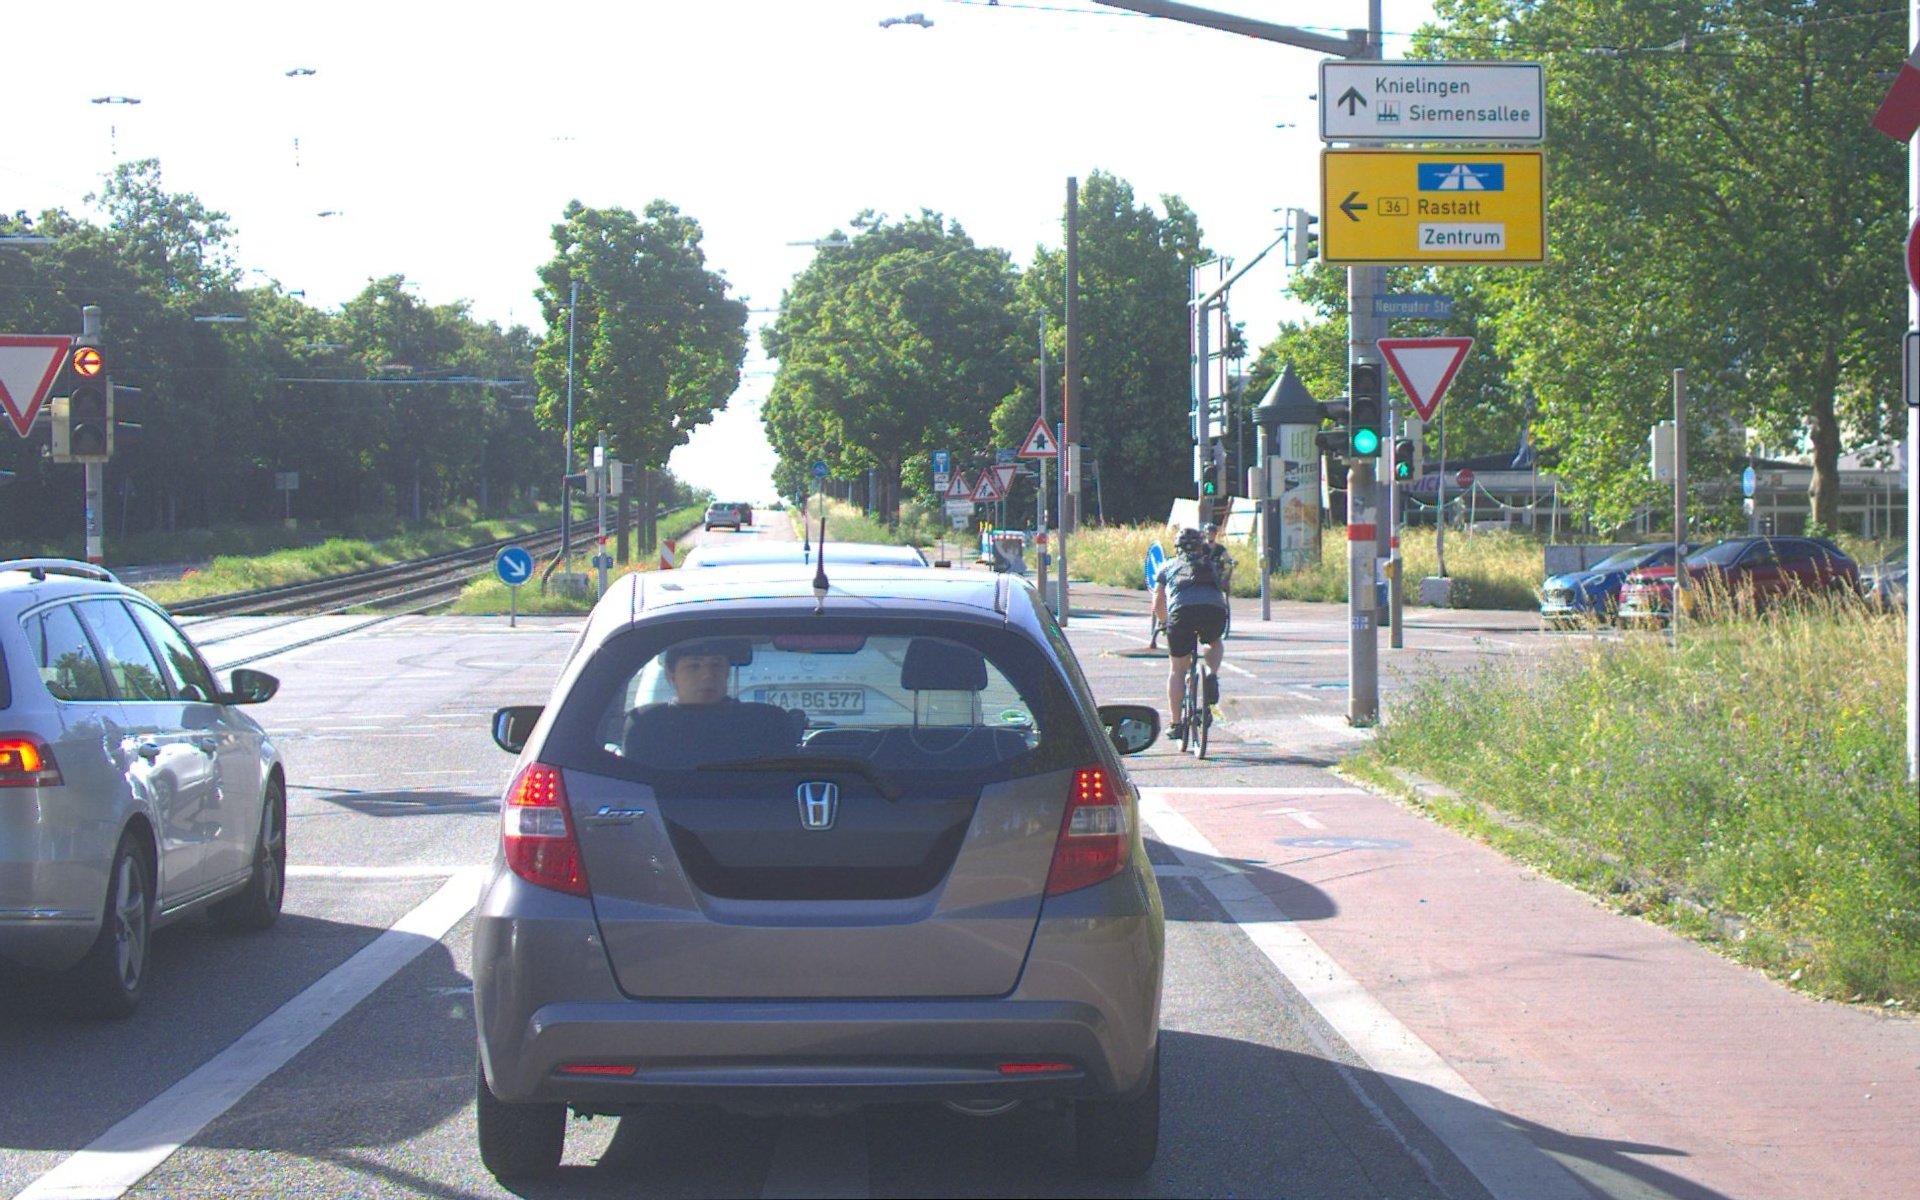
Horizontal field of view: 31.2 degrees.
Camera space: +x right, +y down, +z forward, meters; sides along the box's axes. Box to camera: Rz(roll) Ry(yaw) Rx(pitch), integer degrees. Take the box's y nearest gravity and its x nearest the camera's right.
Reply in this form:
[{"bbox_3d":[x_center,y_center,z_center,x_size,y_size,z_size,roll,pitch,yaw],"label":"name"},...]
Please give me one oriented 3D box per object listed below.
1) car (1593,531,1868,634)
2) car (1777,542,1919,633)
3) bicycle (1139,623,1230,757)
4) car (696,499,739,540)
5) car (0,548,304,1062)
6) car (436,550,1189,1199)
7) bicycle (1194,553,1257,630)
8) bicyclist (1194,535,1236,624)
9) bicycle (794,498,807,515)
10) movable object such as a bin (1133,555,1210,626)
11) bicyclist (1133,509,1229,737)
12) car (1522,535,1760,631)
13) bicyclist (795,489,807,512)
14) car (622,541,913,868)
[{"bbox_3d":[12.445,-0.306,55.512,4.076,1.595,1.817,-1,1,-25],"label":"car"},{"bbox_3d":[16.845,-0.245,62.217,3.847,1.595,1.713,-1,1,-29],"label":"car"},{"bbox_3d":[1.681,0.662,25.945,0.524,0.920,2.089,0,1,-1],"label":"bicycle"},{"bbox_3d":[-12.223,-4.050,173.197,1.993,2.007,4.000,0,1,-2],"label":"car"},{"bbox_3d":[-3.649,0.581,12.364,1.877,1.522,4.421,0,1,-2],"label":"car"},{"bbox_3d":[-0.349,0.624,9.528,1.670,1.510,3.674,0,1,-1],"label":"car"},{"bbox_3d":[3.949,-0.138,51.269,0.466,1.115,1.821,0,1,-11],"label":"bicycle"},{"bbox_3d":[3.849,-0.317,51.862,0.509,1.336,0.565,0,1,-10],"label":"bicyclist"},{"bbox_3d":[-10.546,-6.211,227.782,0.817,1.044,2.506,1,0,-2],"label":"bicycle"},{"bbox_3d":[3.269,-0.154,53.279,0.908,1.065,1.317,-1,1,-10],"label":"movable object such as a bin"},{"bbox_3d":[1.646,0.161,25.700,0.615,1.674,0.933,0,1,-2],"label":"bicyclist"},{"bbox_3d":[11.821,-0.306,59.666,3.847,1.595,1.713,-1,1,-29],"label":"car"},{"bbox_3d":[-10.533,-6.574,227.799,0.817,1.519,0.966,1,0,-2],"label":"bicyclist"},{"bbox_3d":[-0.959,0.464,17.693,1.351,1.522,3.124,0,1,-2],"label":"car"}]
